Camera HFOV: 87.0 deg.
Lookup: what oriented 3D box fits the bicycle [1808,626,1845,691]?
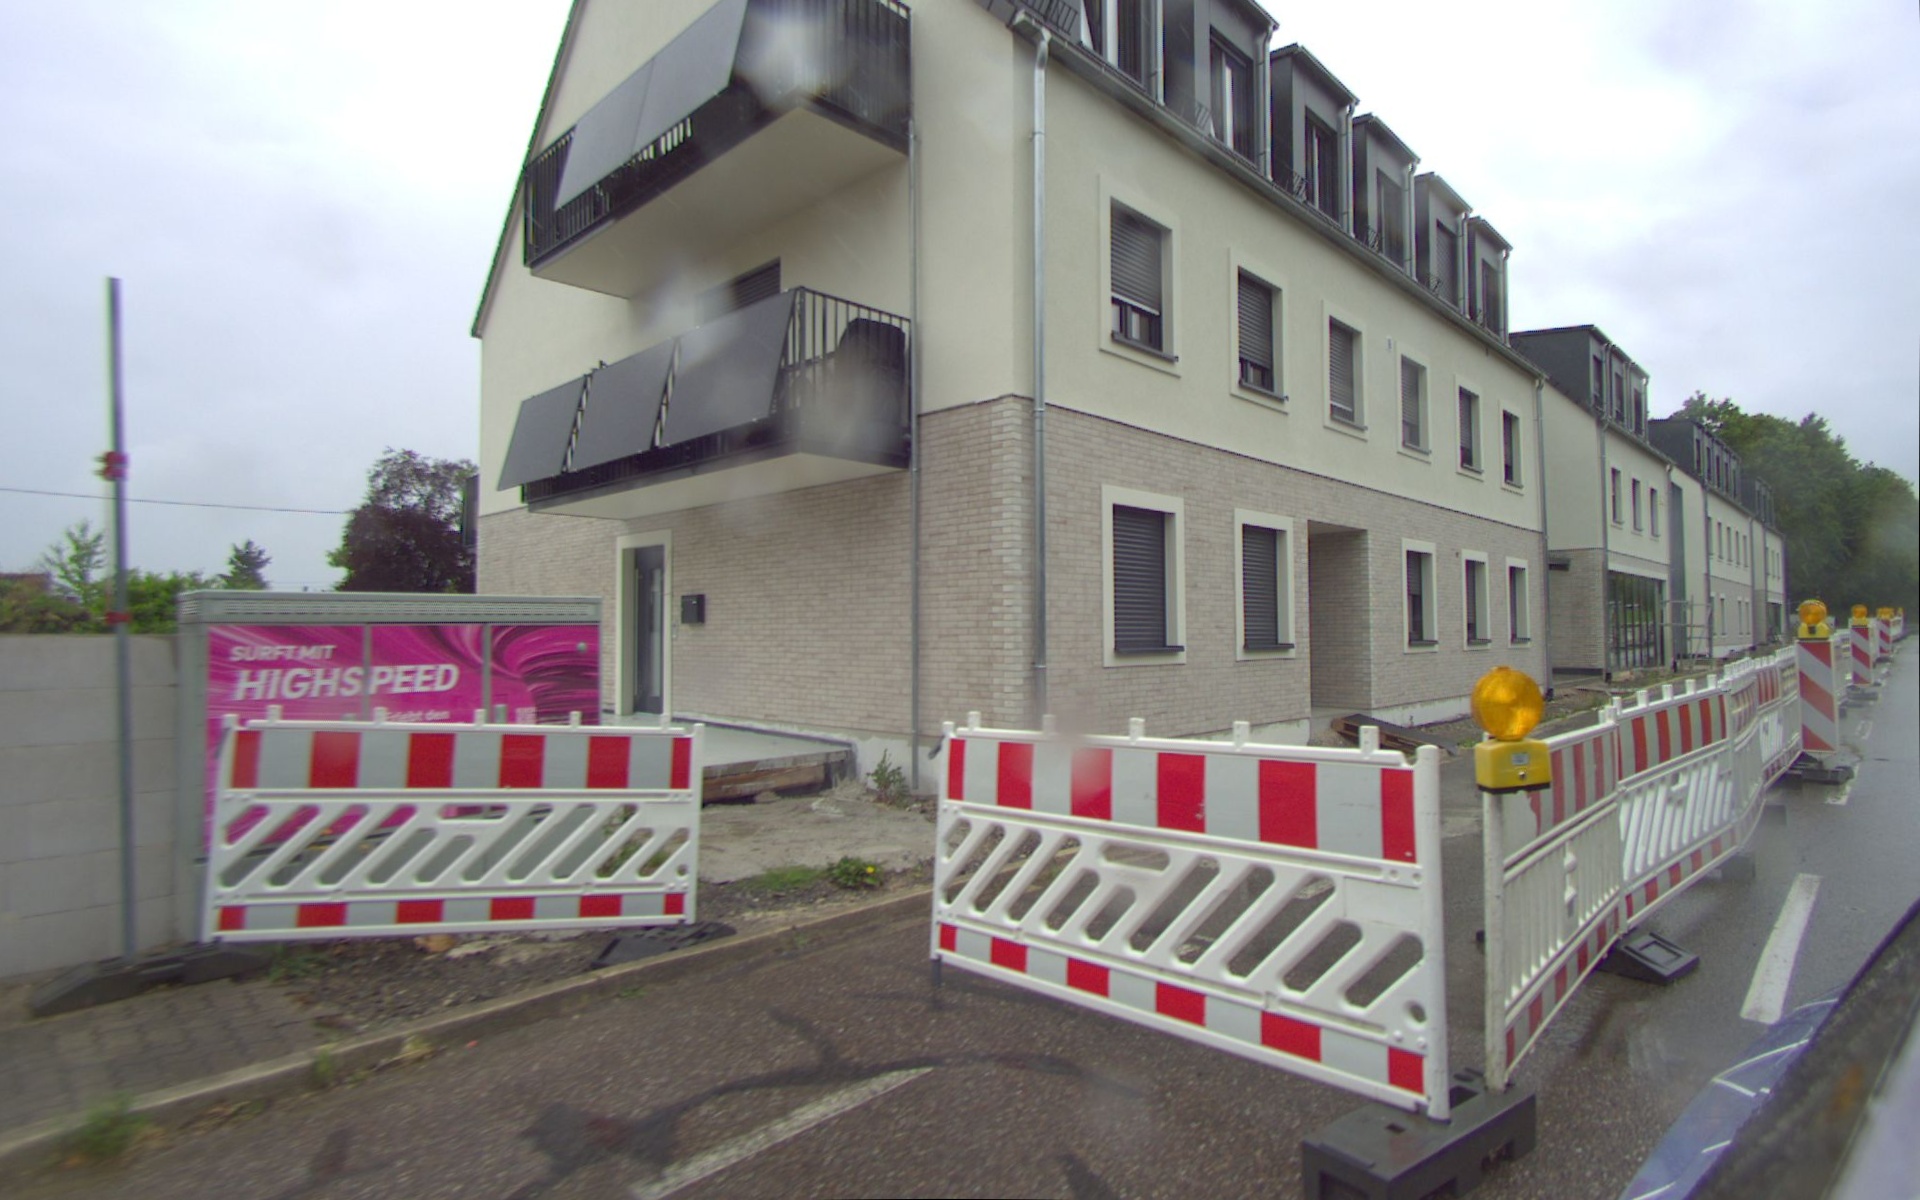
[{"bbox_3d":[16.551,1.099,19.325,1.201,1.158,0.406,0,-1,-44],"label":"bicycle"}]
